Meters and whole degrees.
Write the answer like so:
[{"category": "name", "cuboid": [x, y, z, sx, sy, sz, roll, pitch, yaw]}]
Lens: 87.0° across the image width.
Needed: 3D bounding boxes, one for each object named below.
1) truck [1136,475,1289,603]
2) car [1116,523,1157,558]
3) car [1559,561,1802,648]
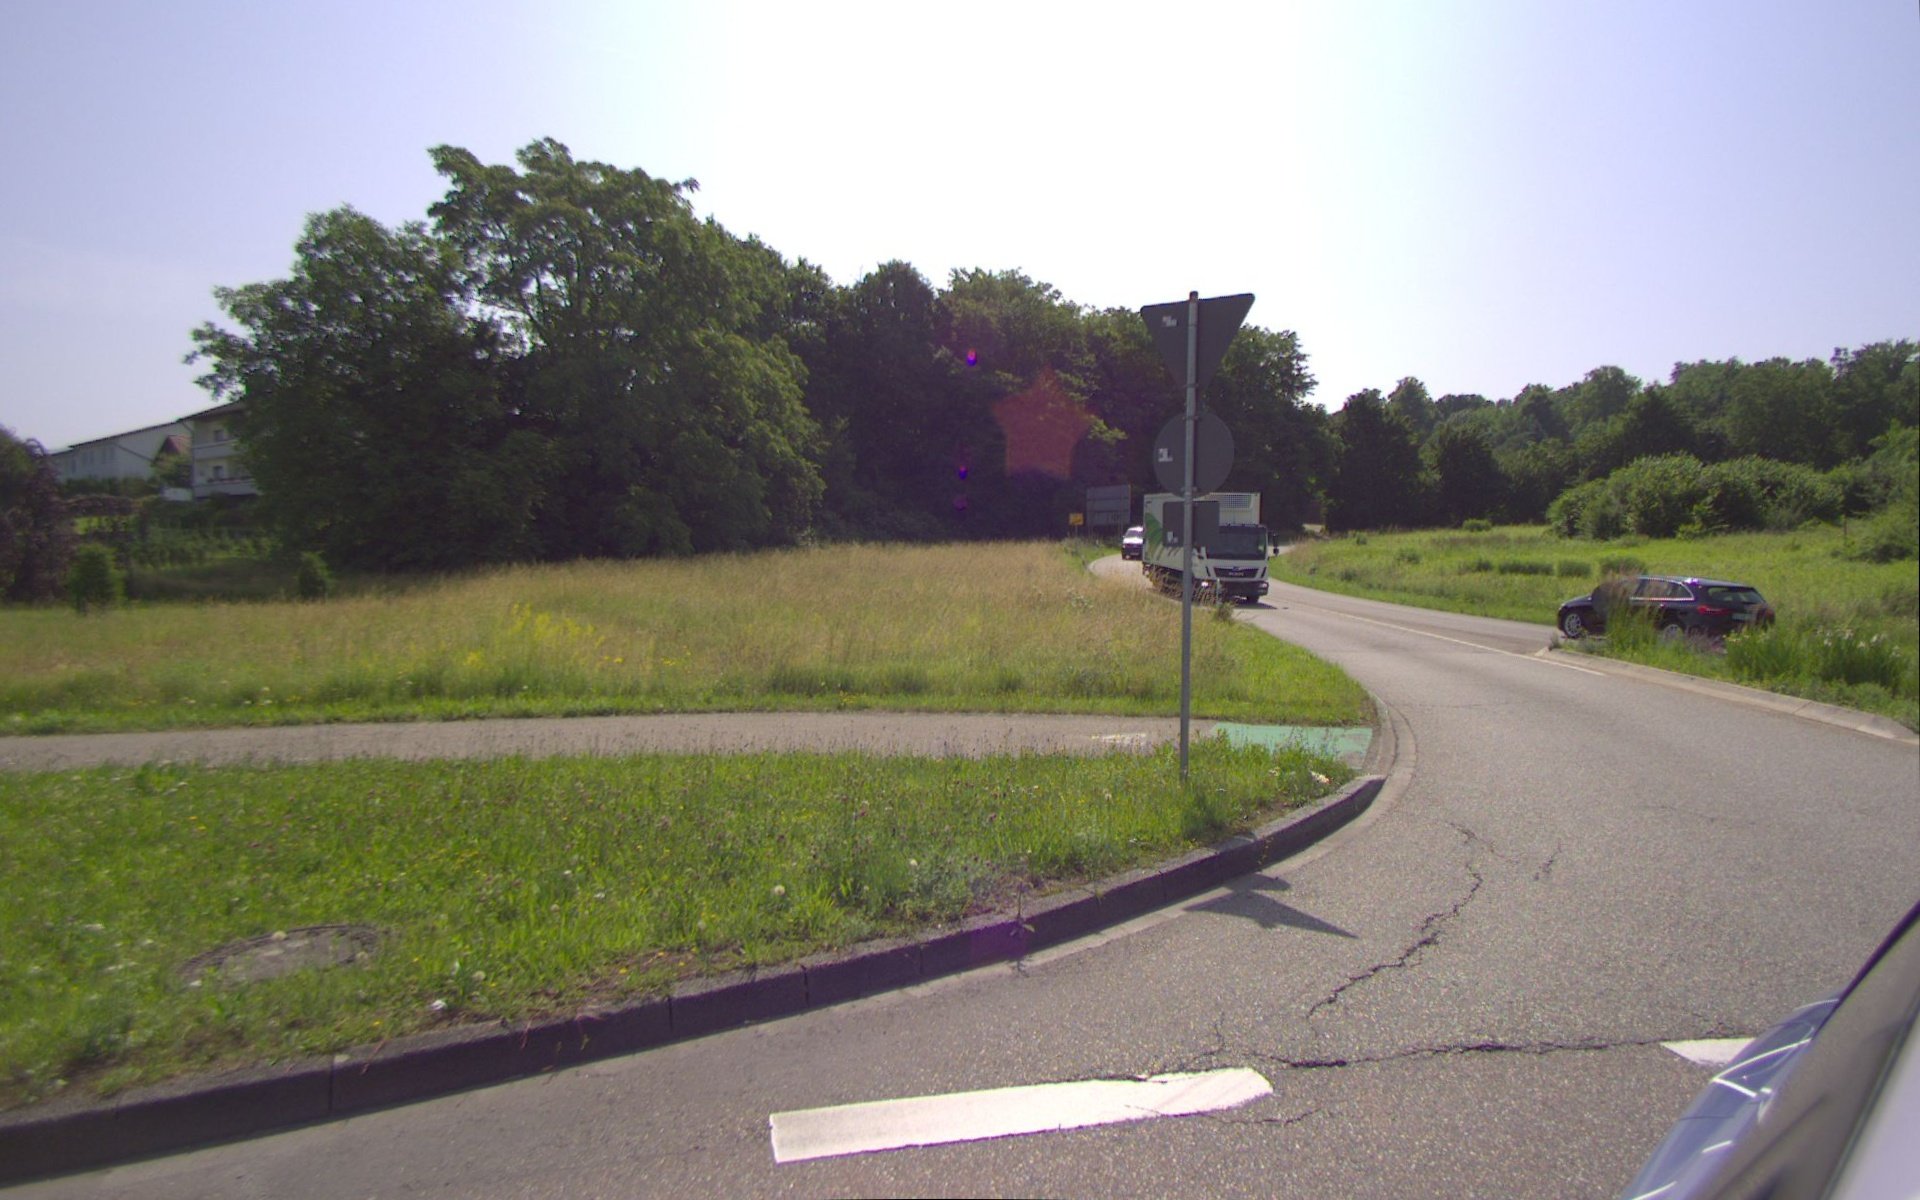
[{"category": "truck", "cuboid": [8.558, -2.081, 35.648, 2.844, 3.875, 9.031, -1, 3, -1]}, {"category": "car", "cuboid": [11.110, -3.723, 63.450, 1.972, 2.038, 5.577, 0, 3, 16]}, {"category": "car", "cuboid": [14.720, 0.004, 21.020, 1.723, 1.549, 4.218, 3, 2, -4]}]
